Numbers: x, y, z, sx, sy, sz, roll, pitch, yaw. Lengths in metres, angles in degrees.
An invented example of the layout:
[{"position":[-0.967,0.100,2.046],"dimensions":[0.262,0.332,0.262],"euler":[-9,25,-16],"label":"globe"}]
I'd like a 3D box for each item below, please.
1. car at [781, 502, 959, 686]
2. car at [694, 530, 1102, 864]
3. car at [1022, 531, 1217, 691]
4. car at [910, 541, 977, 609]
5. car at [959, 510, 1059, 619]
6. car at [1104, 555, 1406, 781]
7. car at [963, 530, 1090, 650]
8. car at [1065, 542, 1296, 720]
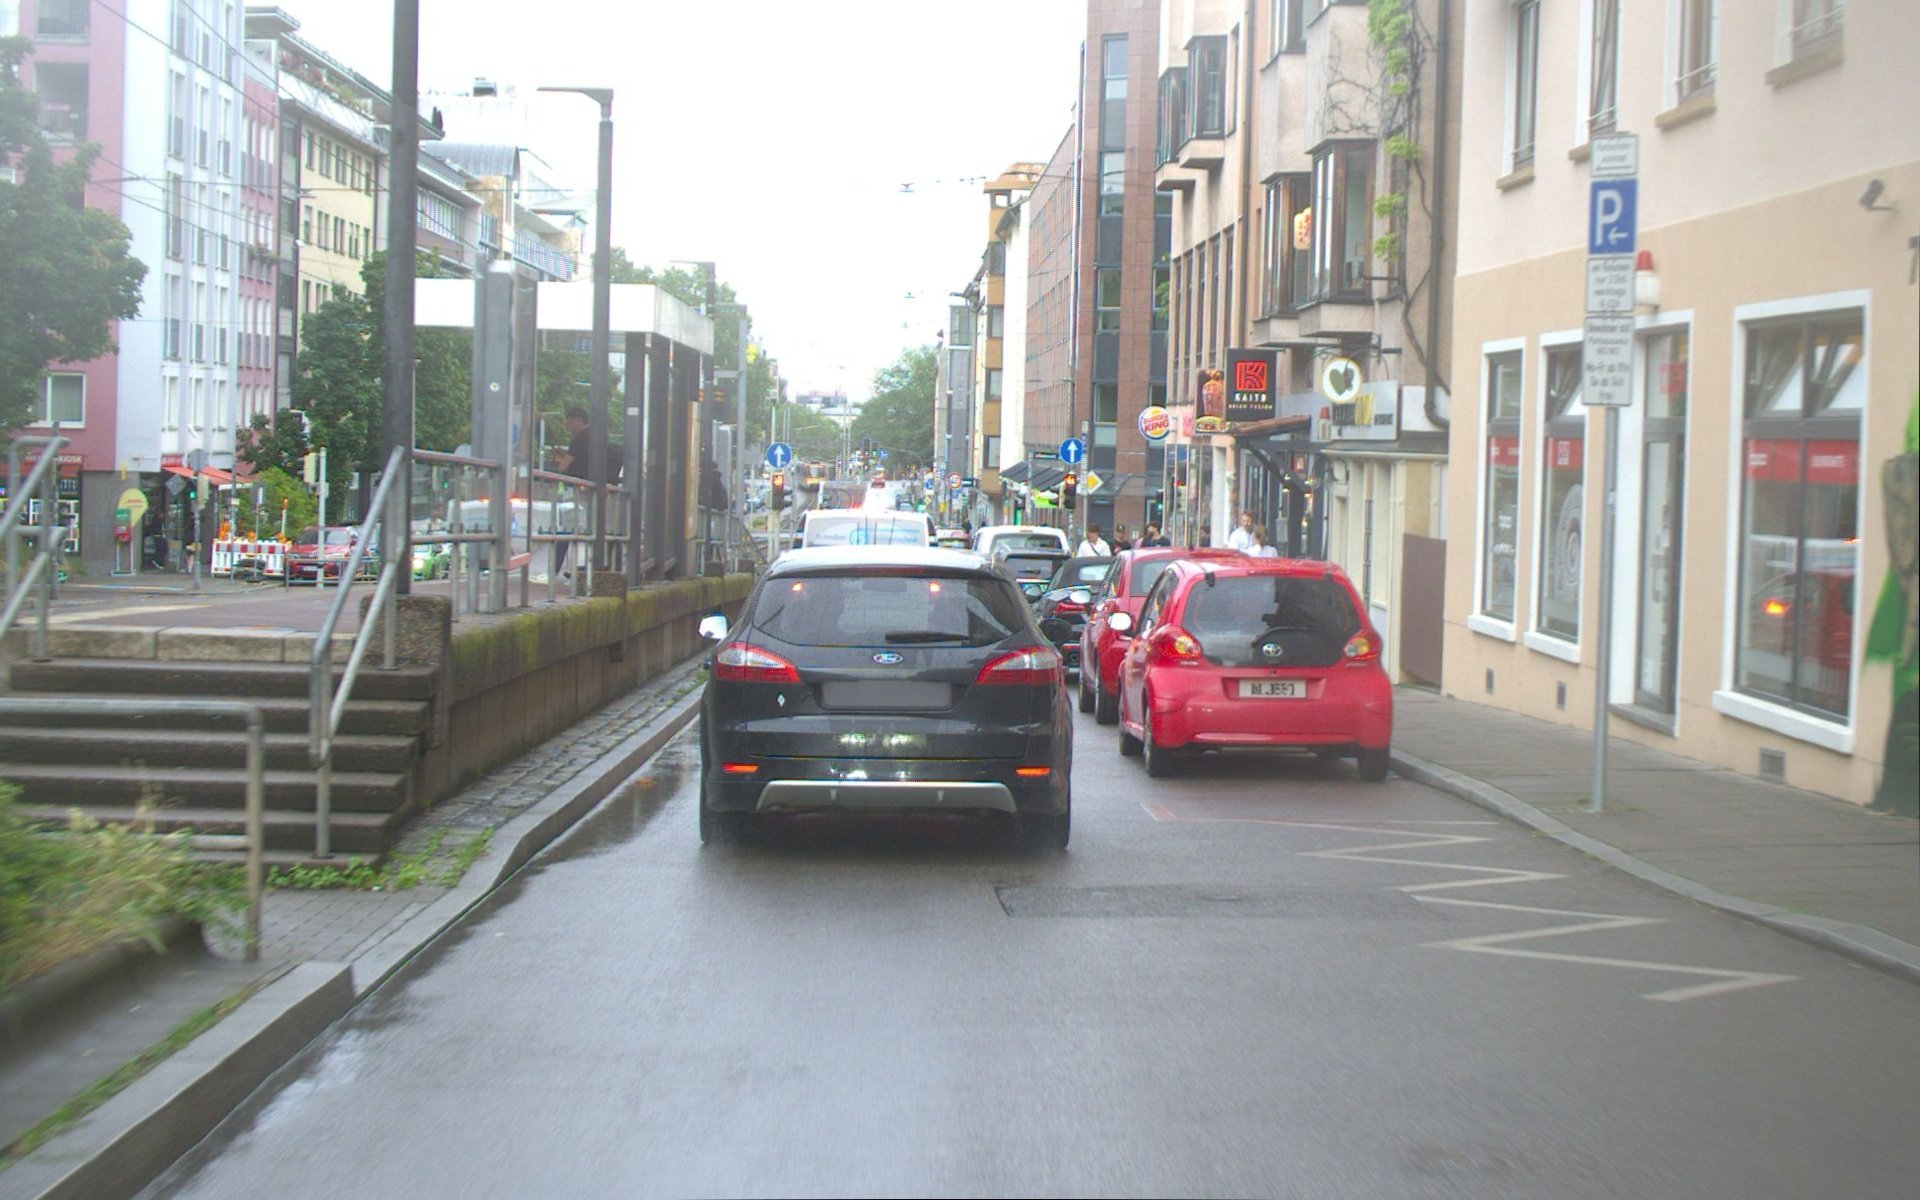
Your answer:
[{"position":[-1.135,-0.134,41.713],"dimensions":[1.988,2.053,4.646],"euler":[2,1,-3],"label":"car"},{"position":[-0.394,0.424,17.708],"dimensions":[1.842,1.502,4.001],"euler":[1,1,-3],"label":"car"},{"position":[1.730,0.136,38.387],"dimensions":[1.858,1.579,3.779],"euler":[4,-1,-1],"label":"car"},{"position":[-0.547,-0.799,111.535],"dimensions":[1.993,2.007,4.000],"euler":[4,-1,-1],"label":"car"},{"position":[0.860,-0.611,62.123],"dimensions":[1.591,1.775,3.779],"euler":[4,-1,-1],"label":"car"},{"position":[1.962,0.413,23.726],"dimensions":[1.670,1.416,3.476],"euler":[1,1,-1],"label":"car"},{"position":[1.057,-0.134,56.284],"dimensions":[1.839,1.775,3.779],"euler":[4,-1,-1],"label":"car"},{"position":[1.854,0.233,29.819],"dimensions":[1.670,1.416,3.476],"euler":[1,1,-1],"label":"car"}]
